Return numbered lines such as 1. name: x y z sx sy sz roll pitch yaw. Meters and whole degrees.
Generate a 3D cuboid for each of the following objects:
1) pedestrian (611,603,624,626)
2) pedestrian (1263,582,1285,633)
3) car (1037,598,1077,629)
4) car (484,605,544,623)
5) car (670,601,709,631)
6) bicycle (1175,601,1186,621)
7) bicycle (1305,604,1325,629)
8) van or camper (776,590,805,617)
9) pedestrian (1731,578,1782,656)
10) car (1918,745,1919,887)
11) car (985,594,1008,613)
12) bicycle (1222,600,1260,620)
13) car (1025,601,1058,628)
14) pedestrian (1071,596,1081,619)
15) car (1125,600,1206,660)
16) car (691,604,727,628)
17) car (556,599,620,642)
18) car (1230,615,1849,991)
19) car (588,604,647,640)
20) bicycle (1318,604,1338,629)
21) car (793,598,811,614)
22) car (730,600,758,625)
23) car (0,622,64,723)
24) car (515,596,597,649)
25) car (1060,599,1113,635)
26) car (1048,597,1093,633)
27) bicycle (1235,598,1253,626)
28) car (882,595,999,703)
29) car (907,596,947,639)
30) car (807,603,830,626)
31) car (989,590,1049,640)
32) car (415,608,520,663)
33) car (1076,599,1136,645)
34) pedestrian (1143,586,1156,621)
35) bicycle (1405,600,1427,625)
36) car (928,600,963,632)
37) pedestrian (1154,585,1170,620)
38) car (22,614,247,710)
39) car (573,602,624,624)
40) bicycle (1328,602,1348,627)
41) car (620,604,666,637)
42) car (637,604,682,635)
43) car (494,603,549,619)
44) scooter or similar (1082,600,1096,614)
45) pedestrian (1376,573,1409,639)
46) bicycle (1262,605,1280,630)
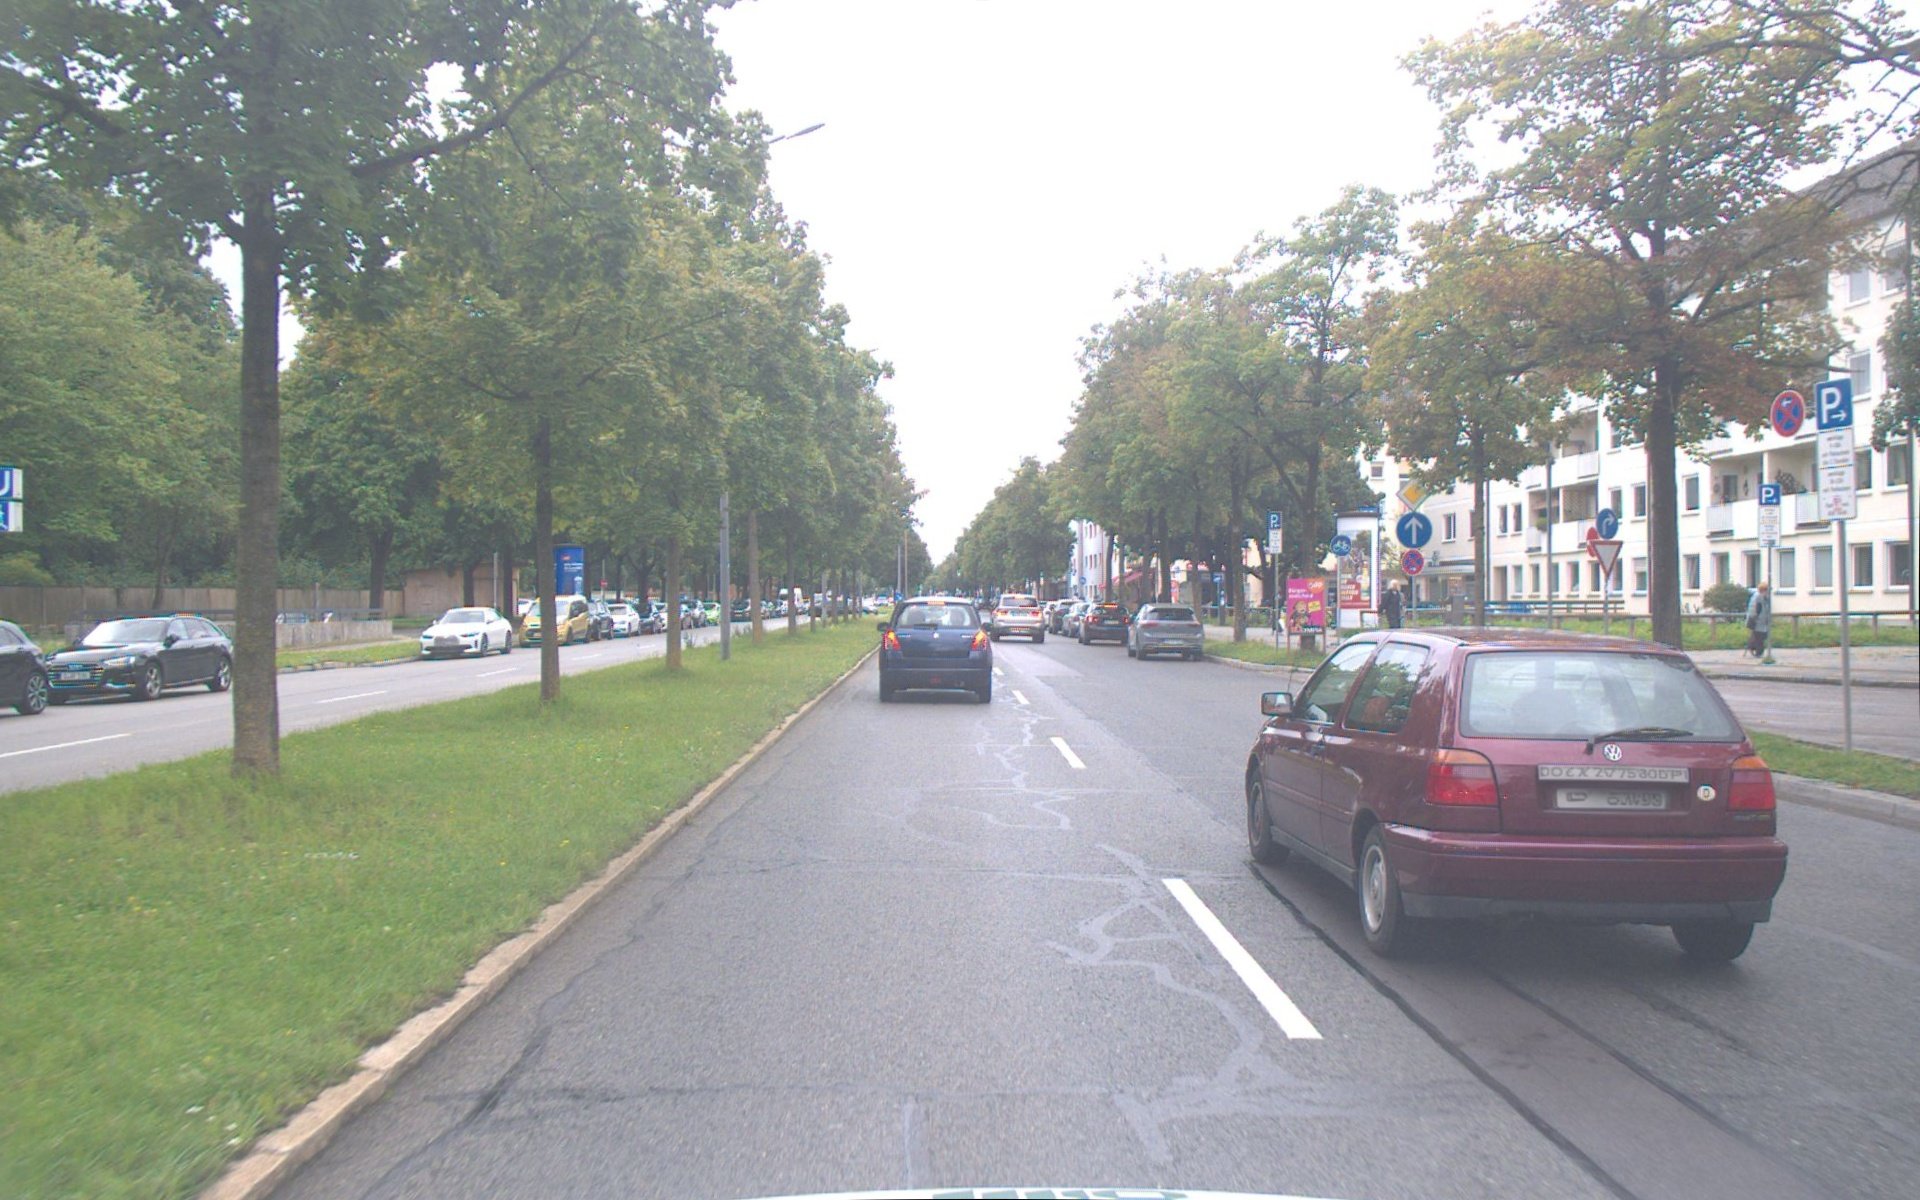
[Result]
1. pedestrian: -23.807 0.995 115.038 0.712 1.561 0.721 1 -1 0
2. pedestrian: 11.208 0.257 58.999 0.626 1.780 0.849 -2 0 4
3. car: 4.951 0.671 84.784 1.648 1.491 4.136 2 0 -2
4. car: -32.342 0.998 119.841 4.325 1.222 1.669 0 -1 31
5. car: -15.689 0.895 96.095 1.656 1.614 4.369 -2 0 -2
6. bicycle: 12.346 0.607 92.563 0.381 1.124 1.853 1 0 0
7. bicycle: 15.267 0.717 71.134 0.422 1.046 1.883 -1 0 0
8. van or camper: -16.694 0.341 163.214 2.073 2.525 7.448 1 0 0
9. pedestrian: 16.566 0.343 34.411 0.573 1.602 0.772 1 -1 -34
10. car: 6.067 0.553 6.299 1.843 1.961 4.931 1 0 -2
11. car: 3.281 0.305 148.523 1.828 1.712 4.222 -1 0 -3
12. bicycle: 14.242 0.505 83.767 1.839 0.956 0.558 1 -1 0
13. car: 4.667 0.819 95.173 1.584 1.491 3.673 2 0 -1
14. pedestrian: 10.327 0.658 147.418 0.778 2.049 1.006 0 0 0
15. car: 5.448 0.764 44.323 1.647 1.491 4.115 1 0 0
16. car: -15.816 0.996 104.425 1.515 1.434 3.880 -2 0 2
17. car: -15.250 0.818 67.959 1.701 1.675 4.254 -2 0 -1
18. car: 2.579 0.809 8.387 1.648 1.408 3.917 1 0 -2
19. car: -15.314 0.965 74.131 1.727 1.475 4.531 -2 0 -1
20. bicycle: 15.805 0.693 71.131 0.422 1.046 1.883 -1 0 0
21. car: -16.734 0.664 175.694 1.599 1.610 3.877 1 0 -2
22. car: -15.875 0.925 121.751 1.682 1.771 3.877 1 0 -2
23. car: -14.557 1.079 23.126 1.763 1.408 4.237 -2 0 -1
24. car: -14.928 0.800 61.361 1.777 1.814 4.817 -2 0 0
25. car: 5.202 0.685 68.507 1.603 1.410 4.241 1 0 -4
26. car: 4.946 0.648 74.535 1.682 1.560 4.275 1 0 -1
27. bicycle: 12.386 0.520 72.183 0.422 1.153 1.883 -1 0 0
28. car: -0.333 0.686 25.299 1.648 1.528 3.917 0 0 -2
29. car: -1.201 0.618 60.077 1.415 1.509 3.105 0 0 -2
30. car: -12.865 1.313 150.901 1.763 1.967 4.992 -2 0 -2
31. car: 2.094 0.504 59.330 1.828 1.690 4.406 1 0 -2
32. car: -15.021 1.051 50.706 1.819 1.498 4.873 -2 0 -1
33. car: 5.099 0.742 58.101 1.715 1.491 4.176 1 0 0
34. pedestrian: 10.519 0.192 91.673 0.576 1.923 0.901 -1 -1 -2
35. bicycle: 19.600 0.549 71.081 0.422 1.046 1.883 -1 0 0
36. car: -0.701 0.729 78.958 1.648 1.488 3.733 0 0 -1
37. pedestrian: 11.185 0.160 91.711 0.714 1.923 0.919 -1 -1 -2
38. car: -14.469 1.035 29.287 1.763 1.450 4.430 -2 0 -1
39. car: -29.219 1.038 133.901 3.843 1.748 1.670 1 -1 -6
40. bicycle: 16.277 0.614 71.217 0.422 1.046 1.883 -1 0 0
41. car: -15.173 0.960 79.330 1.581 1.442 3.895 -2 0 -3
42. car: -15.469 1.001 85.251 1.574 1.469 4.278 -2 0 -1
43. car: -40.460 1.004 152.708 4.595 1.471 1.672 1 0 -1
44. scooter or similar: 11.958 0.646 153.252 1.011 1.330 2.755 0 0 0
45. pedestrian: 11.637 0.170 44.469 0.634 1.760 0.594 1 -1 -34
46. bicycle: 13.433 0.740 71.436 0.422 1.046 1.883 -1 0 0
